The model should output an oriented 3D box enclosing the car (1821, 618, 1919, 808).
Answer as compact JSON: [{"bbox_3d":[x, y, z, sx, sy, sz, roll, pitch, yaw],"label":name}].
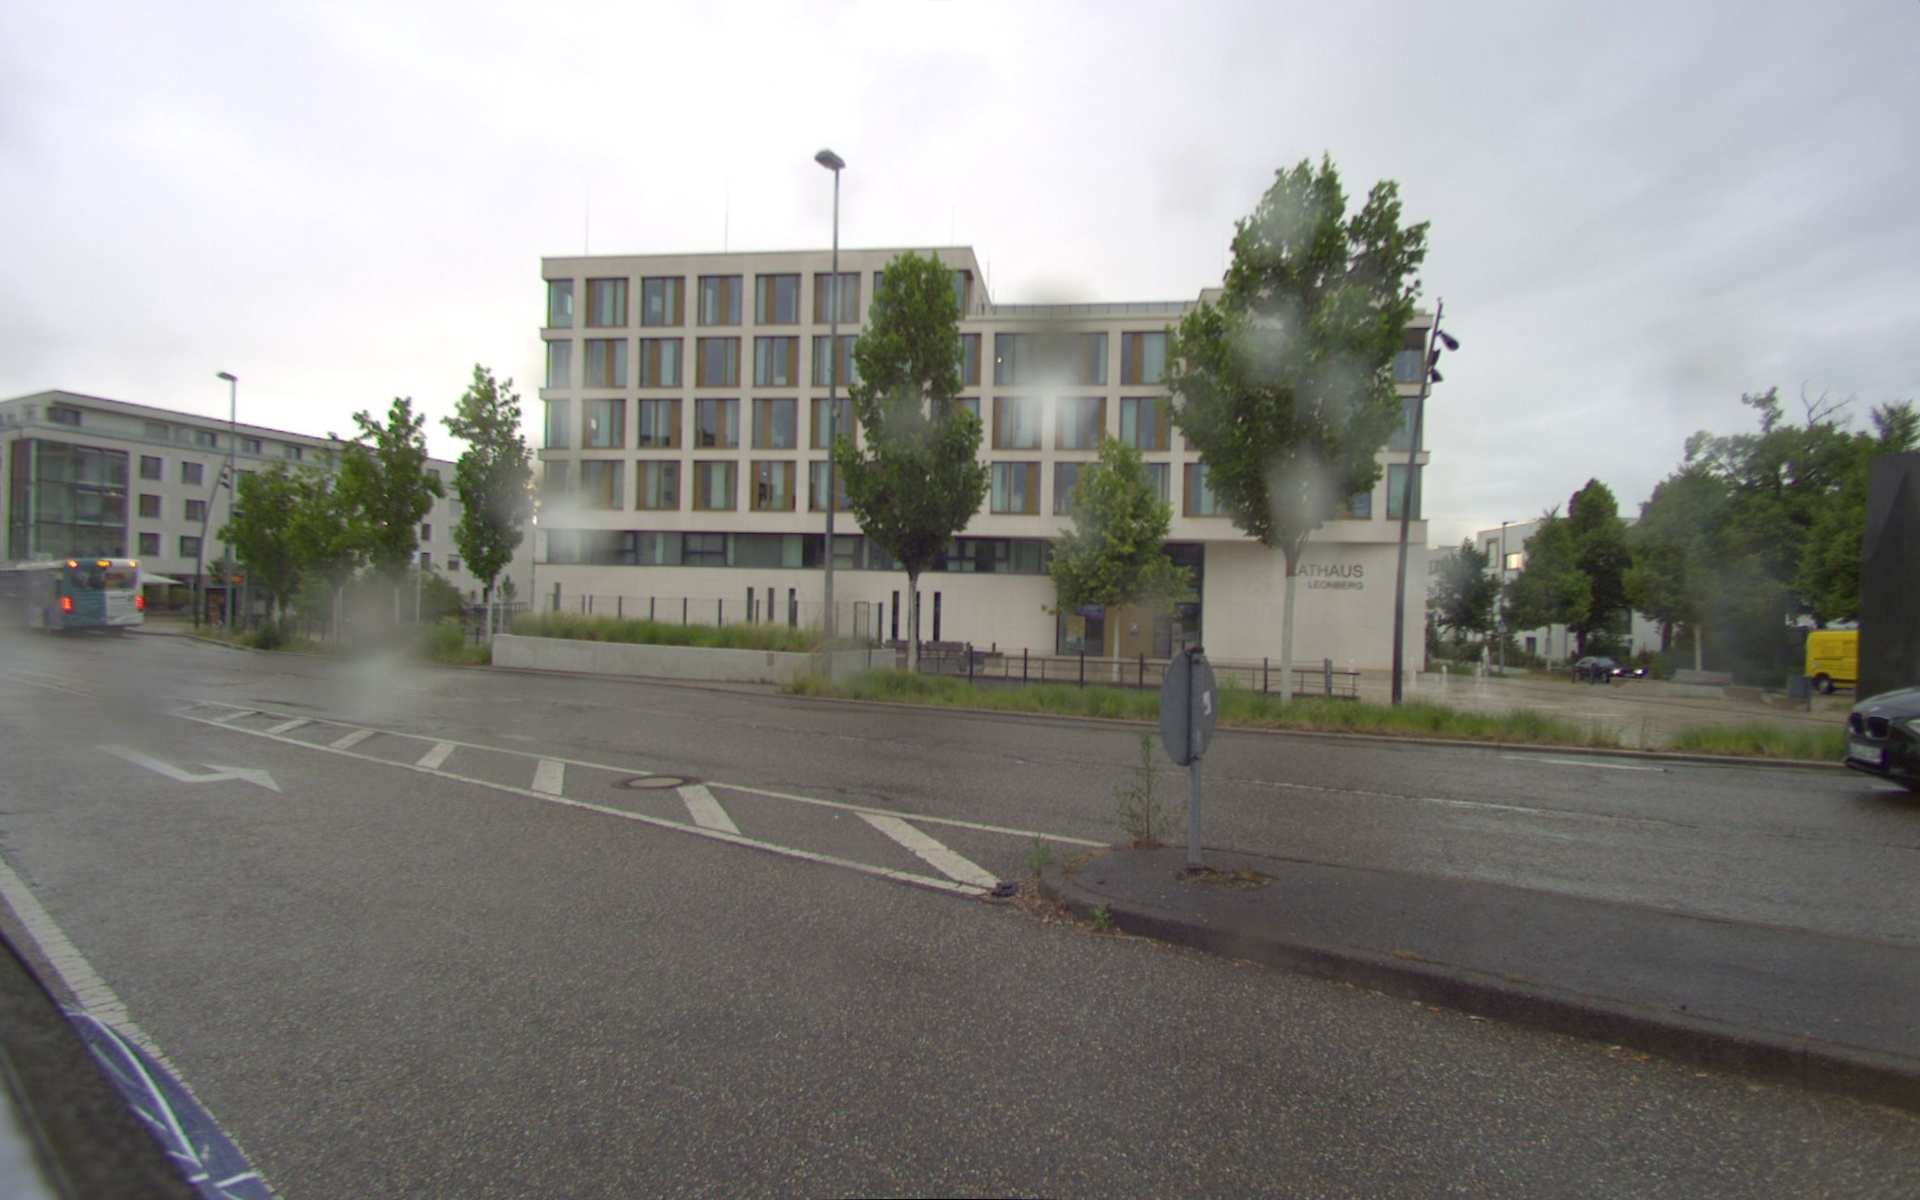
[{"bbox_3d":[9.254,0.843,7.276,4.245,1.401,1.780,0,-2,17],"label":"car"}]

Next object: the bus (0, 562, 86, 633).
[{"bbox_3d":[-45.342,-0.059,48.867,8.866,3.138,2.767,-1,-2,36],"label":"bus"}]

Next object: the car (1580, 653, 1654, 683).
[{"bbox_3d":[36.100,3.732,55.740,1.978,1.551,3.987,1,-3,10],"label":"car"}]

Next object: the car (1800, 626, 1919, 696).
[{"bbox_3d":[34.417,2.243,37.376,1.973,2.428,5.912,1,-3,2],"label":"car"}]

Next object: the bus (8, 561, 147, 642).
[{"bbox_3d":[-37.983,0.118,43.428,9.355,3.138,2.750,-1,-2,38],"label":"bus"}]
